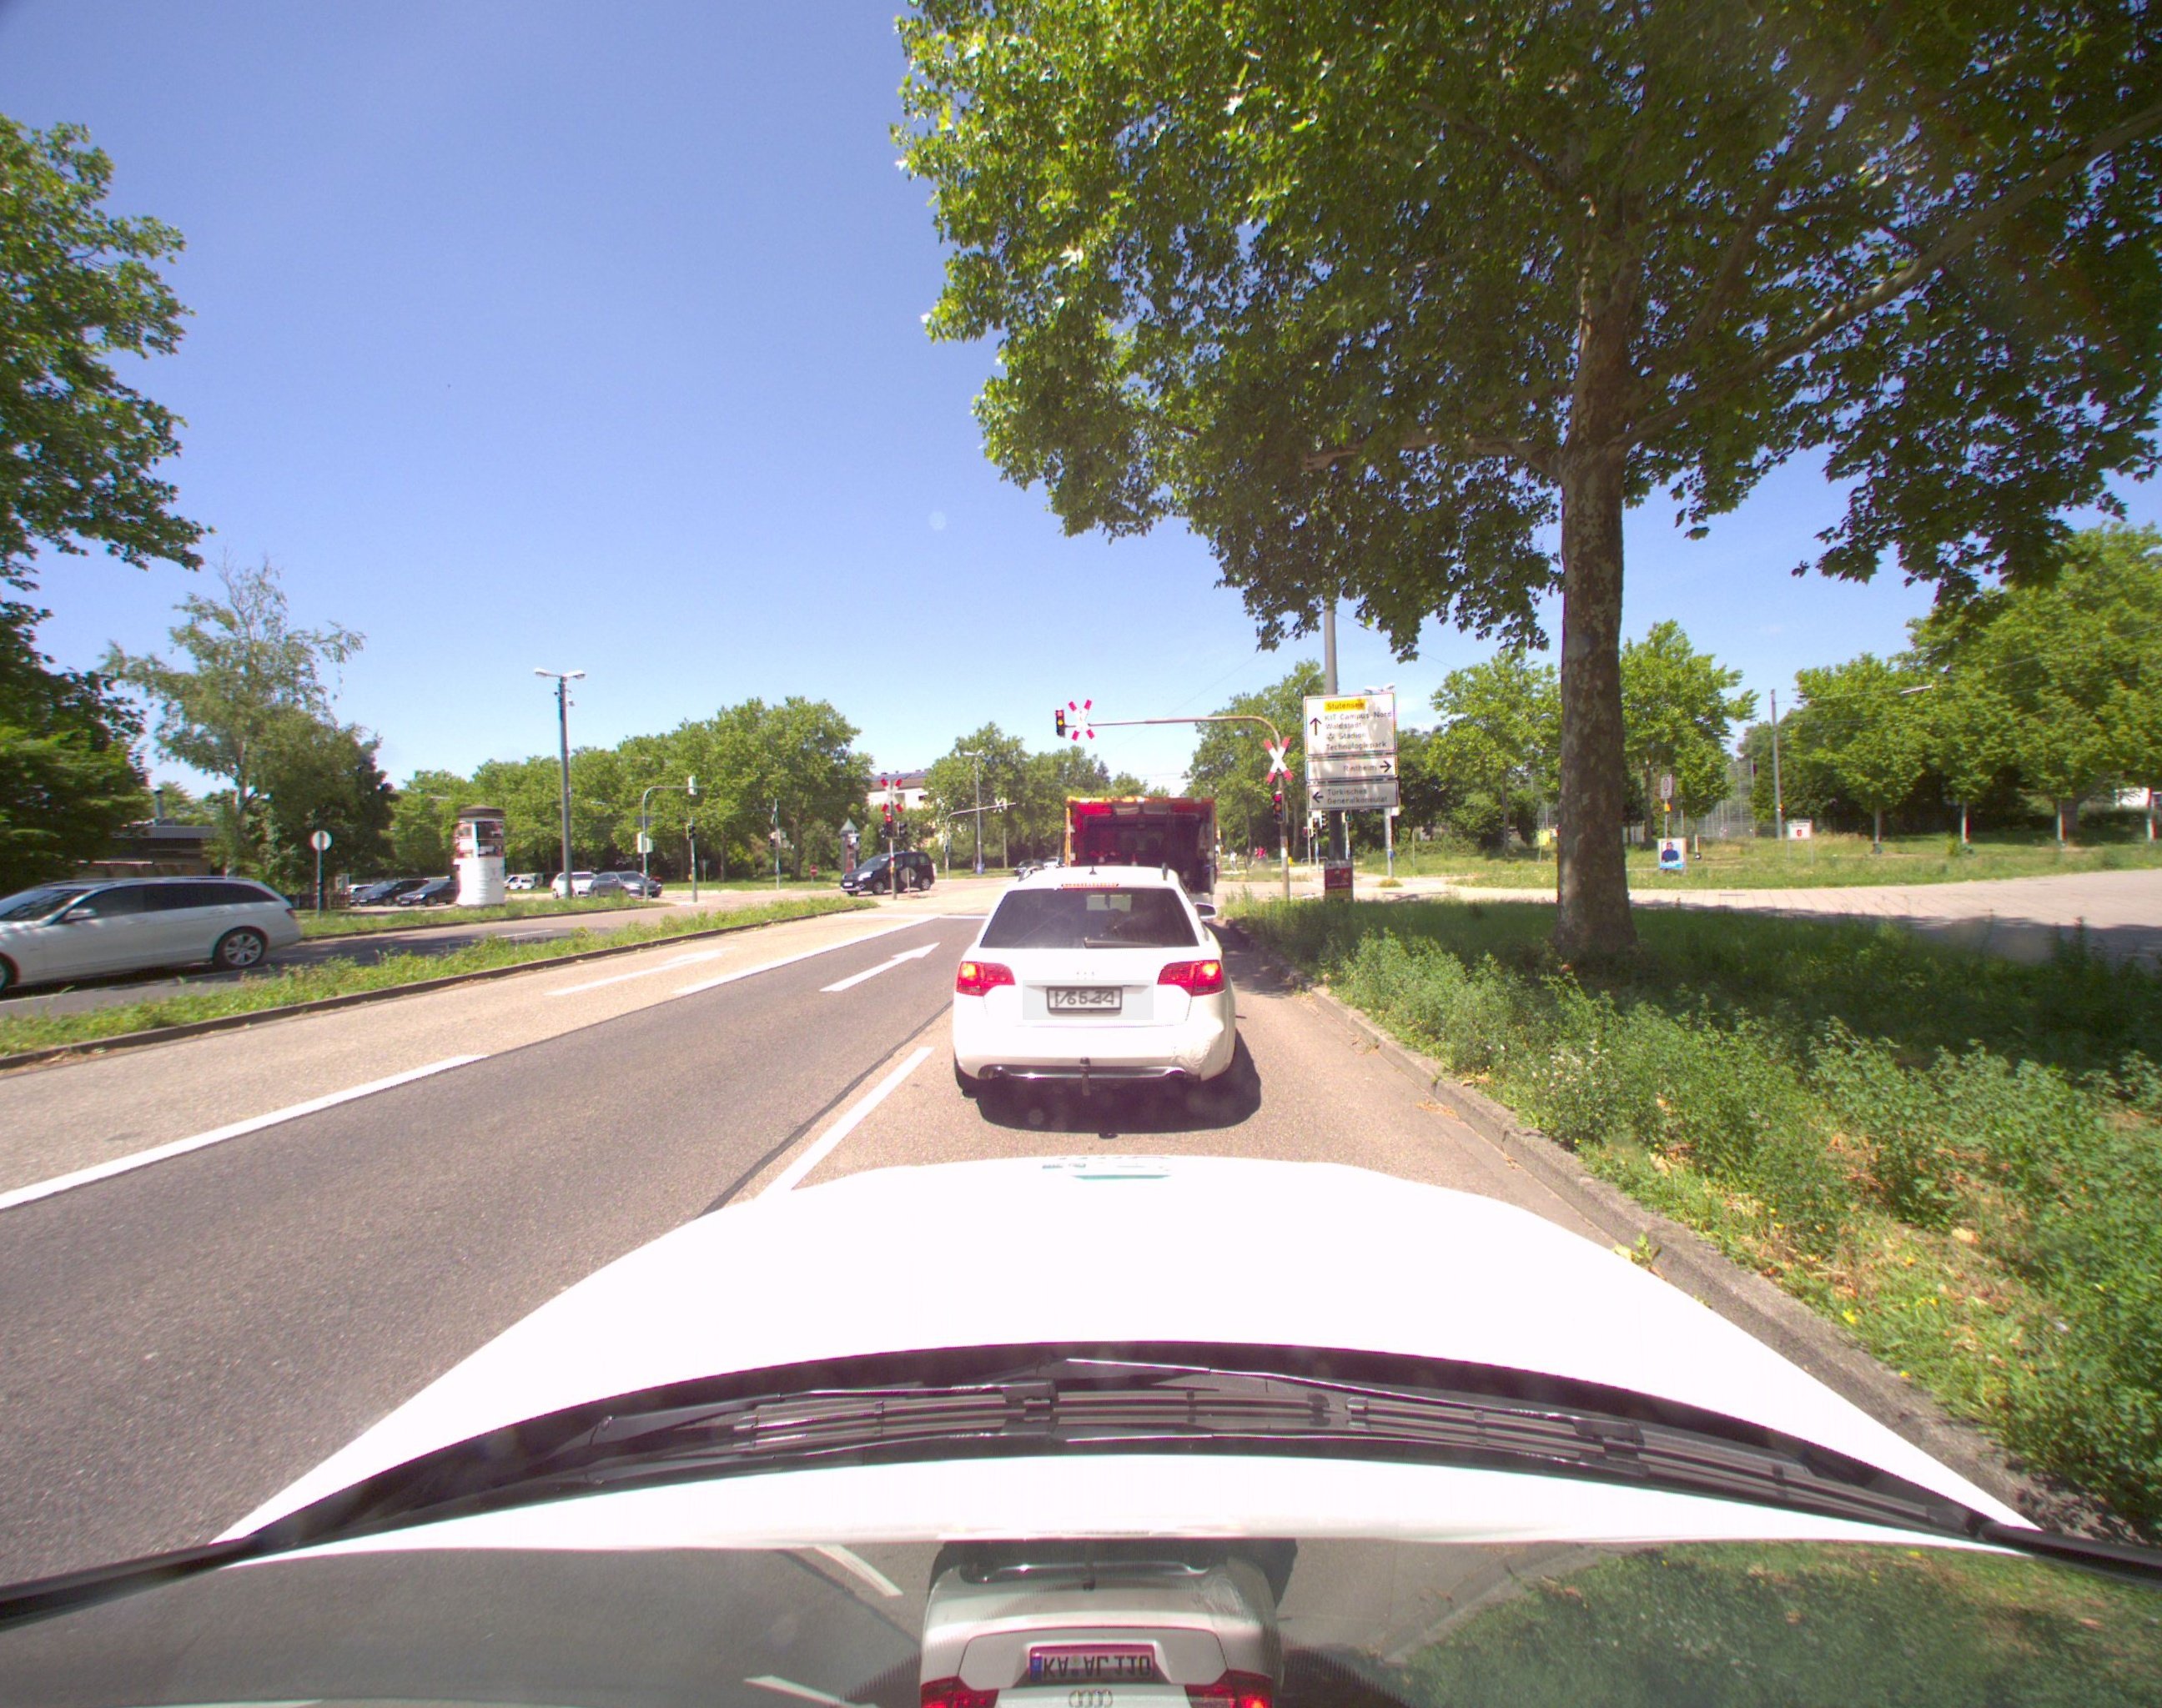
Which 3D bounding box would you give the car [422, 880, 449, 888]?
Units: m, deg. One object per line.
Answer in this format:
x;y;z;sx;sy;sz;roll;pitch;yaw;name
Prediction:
-88.144;4.079;111.226;0.996;0.994;2.738;-2;0;31;car

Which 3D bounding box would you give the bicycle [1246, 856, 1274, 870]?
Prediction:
12.211;0.637;55.632;1.794;0.895;0.590;-2;0;9;bicycle

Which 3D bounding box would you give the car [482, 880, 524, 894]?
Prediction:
-66.232;3.739;93.406;1.481;1.397;3.572;-2;0;29;car

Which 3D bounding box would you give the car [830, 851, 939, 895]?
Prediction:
-8.453;0.793;35.377;1.893;1.679;4.472;-2;0;34;car

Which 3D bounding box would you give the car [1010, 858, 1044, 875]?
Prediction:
-4.833;1.112;73.701;1.937;1.440;4.761;-1;1;11;car

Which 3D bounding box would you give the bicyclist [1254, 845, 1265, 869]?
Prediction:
12.197;0.200;55.637;0.667;1.556;0.581;-2;0;10;bicyclist

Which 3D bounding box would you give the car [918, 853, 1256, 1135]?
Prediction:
0.208;0.730;6.067;1.754;1.445;3.622;-1;0;6;car

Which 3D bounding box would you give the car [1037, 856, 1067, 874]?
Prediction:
-2.823;1.063;81.152;1.774;1.615;4.421;-2;0;14;car

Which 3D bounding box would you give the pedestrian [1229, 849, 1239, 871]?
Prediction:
10.969;0.428;58.317;0.548;1.484;0.632;-2;0;18;pedestrian

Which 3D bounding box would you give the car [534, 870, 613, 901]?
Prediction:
-29.302;1.807;47.008;4.403;1.604;2.231;-2;0;34;car

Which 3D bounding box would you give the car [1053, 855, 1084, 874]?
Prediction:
-1.130;0.920;74.318;1.897;1.539;4.312;-2;0;11;car

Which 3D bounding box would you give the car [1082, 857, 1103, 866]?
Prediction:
2.004;1.286;139.375;1.864;1.393;4.025;-2;0;28;car

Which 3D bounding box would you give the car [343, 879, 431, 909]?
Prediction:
-44.801;2.552;52.701;1.769;1.651;4.201;-2;0;6;car

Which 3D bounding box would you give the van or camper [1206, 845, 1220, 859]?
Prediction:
32.429;-0.502;199.495;2.640;3.331;5.524;-2;0;16;van or camper

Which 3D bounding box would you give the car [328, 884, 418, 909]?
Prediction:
-47.519;2.804;54.777;1.863;1.412;4.396;-2;0;6;car

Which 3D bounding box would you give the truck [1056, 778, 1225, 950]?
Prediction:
1.222;0.180;15.971;2.499;2.559;7.613;0;0;5;truck

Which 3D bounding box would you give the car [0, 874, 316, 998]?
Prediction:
-14.049;1.092;11.502;1.843;1.418;4.557;-2;0;7;car

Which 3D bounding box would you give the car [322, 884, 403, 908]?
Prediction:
-51.831;3.022;58.841;1.930;1.423;4.070;-2;0;8;car

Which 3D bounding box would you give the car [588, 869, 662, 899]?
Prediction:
-24.076;1.591;42.938;3.941;1.457;1.776;-2;0;34;car
